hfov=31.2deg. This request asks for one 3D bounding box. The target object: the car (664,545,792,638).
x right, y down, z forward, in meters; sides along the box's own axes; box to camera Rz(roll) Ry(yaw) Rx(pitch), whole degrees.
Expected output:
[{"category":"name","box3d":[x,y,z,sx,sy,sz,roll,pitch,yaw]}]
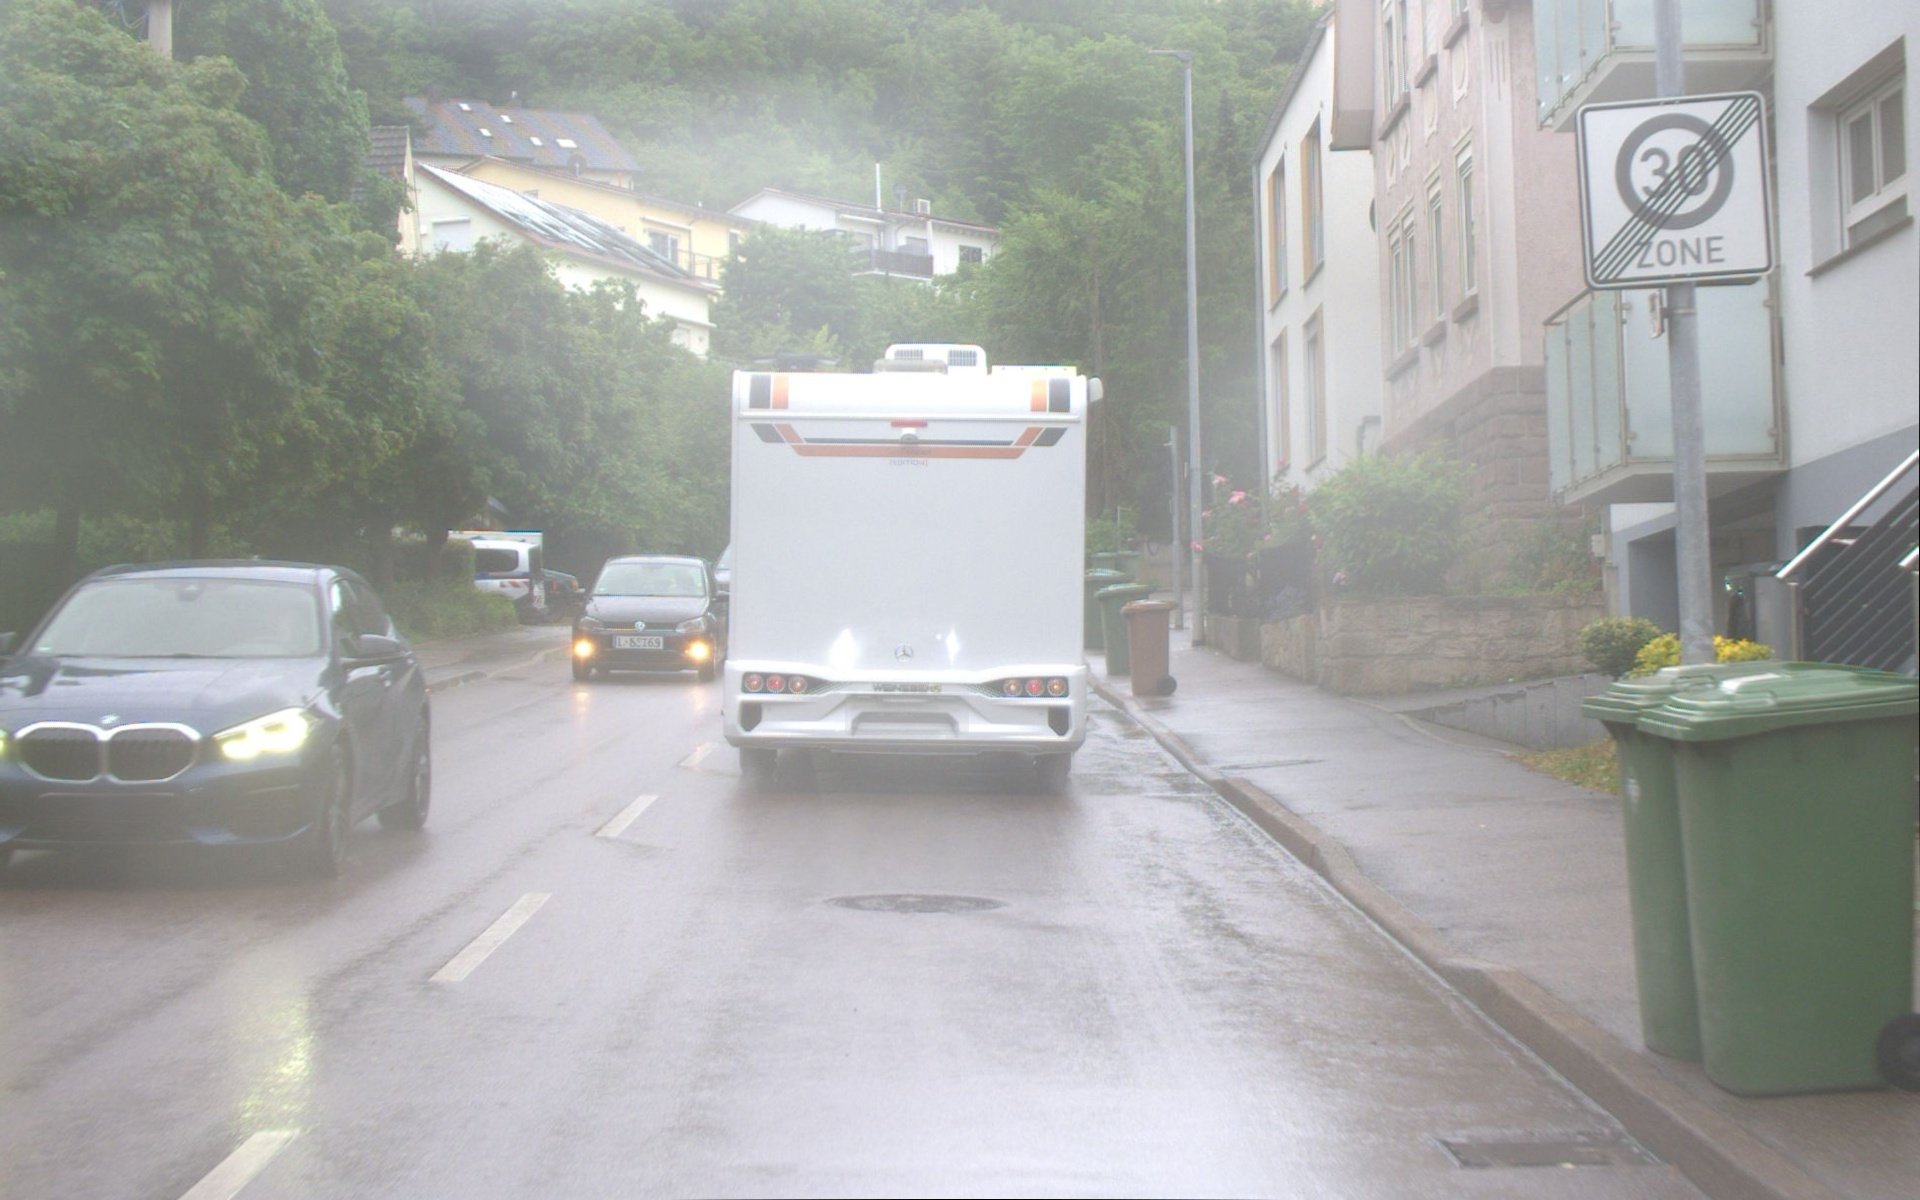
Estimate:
[{"category":"car","box3d":[-4.176,-0.189,62.422,1.918,1.618,4.363,0,1,1]}]

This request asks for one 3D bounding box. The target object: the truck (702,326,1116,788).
[{"category":"truck","box3d":[-0.343,-0.311,23.993,2.515,2.808,6.202,0,1,-1]}]

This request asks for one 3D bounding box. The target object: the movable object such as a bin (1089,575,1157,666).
[{"category":"movable object such as a bin","box3d":[1.953,0.241,41.367,0.796,1.066,0.761,0,1,1]}]

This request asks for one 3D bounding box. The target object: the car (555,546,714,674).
[{"category":"car","box3d":[-3.809,0.087,40.682,1.618,1.436,3.738,0,1,-1]}]

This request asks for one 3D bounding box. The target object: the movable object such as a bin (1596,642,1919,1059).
[{"category":"movable object such as a bin","box3d":[2.291,0.678,9.601,0.914,1.099,0.702,0,1,2]}]

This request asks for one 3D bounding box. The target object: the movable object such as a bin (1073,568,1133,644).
[{"category":"movable object such as a bin","box3d":[2.026,0.083,48.823,0.835,1.057,0.750,0,1,1]}]

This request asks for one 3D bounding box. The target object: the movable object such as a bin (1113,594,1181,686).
[{"category":"movable object such as a bin","box3d":[1.841,0.391,33.928,0.630,0.894,0.712,0,1,0]}]

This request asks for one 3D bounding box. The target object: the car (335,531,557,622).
[{"category":"car","box3d":[-10.283,-0.491,69.009,4.106,1.794,2.000,0,1,2]}]

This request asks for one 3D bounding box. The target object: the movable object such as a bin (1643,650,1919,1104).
[{"category":"movable object such as a bin","box3d":[2.278,0.690,8.853,0.914,1.099,0.702,0,1,2]}]

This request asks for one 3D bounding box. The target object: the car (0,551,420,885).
[{"category":"car","box3d":[-3.728,0.484,16.765,1.719,1.425,3.845,0,1,-2]}]
